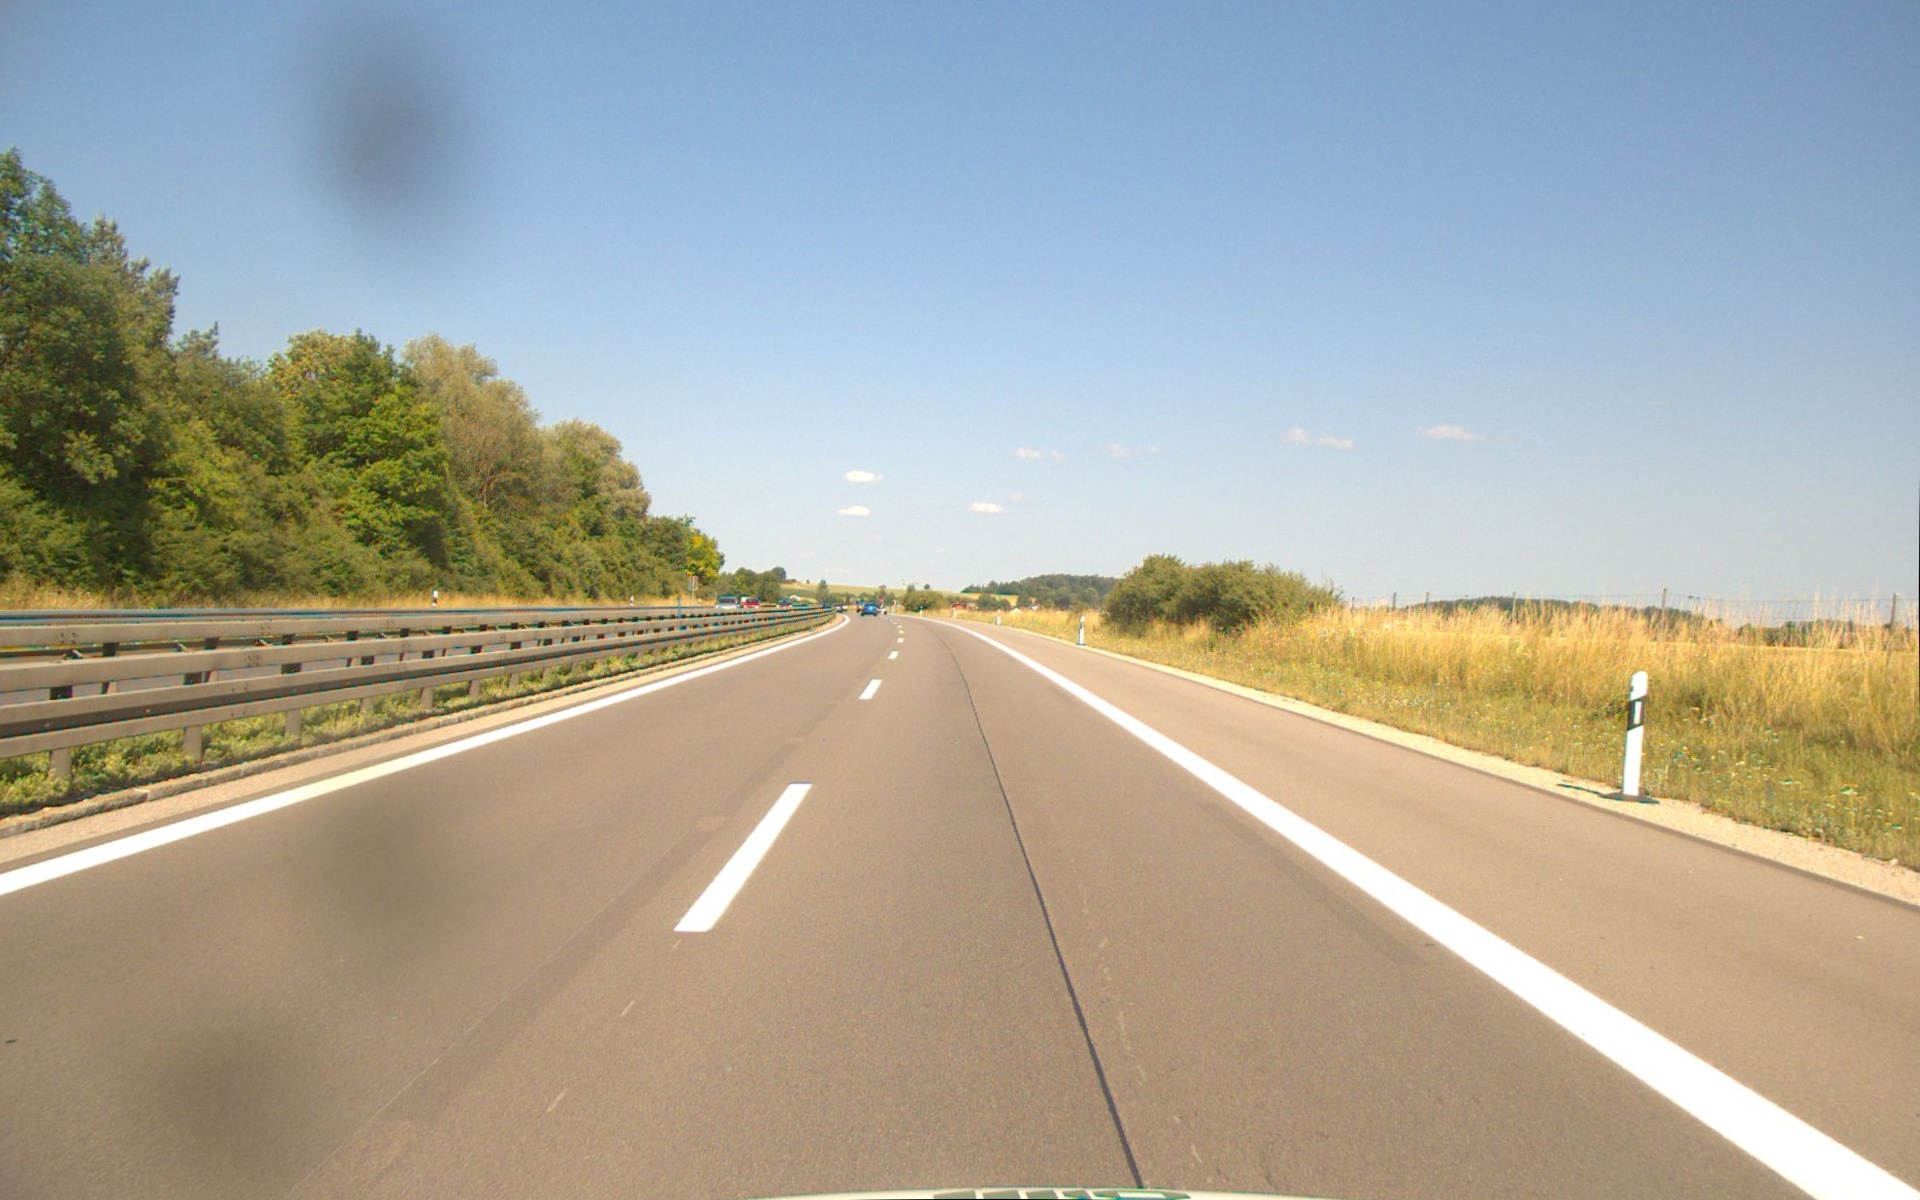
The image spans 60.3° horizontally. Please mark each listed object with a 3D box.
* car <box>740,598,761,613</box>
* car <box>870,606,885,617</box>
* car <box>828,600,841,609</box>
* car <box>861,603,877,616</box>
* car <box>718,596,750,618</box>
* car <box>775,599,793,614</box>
[{"bbox_3d":[-21.058,0.547,166.387,1.616,1.519,4.537,1,0,-3],"label":"car"},{"bbox_3d":[-10.840,1.502,217.035,1.644,1.479,3.585,1,-1,-8],"label":"car"},{"bbox_3d":[-19.642,0.714,258.591,1.792,1.479,3.591,1,-1,-1],"label":"car"},{"bbox_3d":[-10.440,1.096,189.706,1.642,1.479,3.590,1,-1,-1],"label":"car"},{"bbox_3d":[-18.077,0.566,132.434,1.953,1.640,4.635,1,0,-1],"label":"car"},{"bbox_3d":[-18.820,0.662,177.386,1.616,1.519,4.537,1,0,-3],"label":"car"}]
